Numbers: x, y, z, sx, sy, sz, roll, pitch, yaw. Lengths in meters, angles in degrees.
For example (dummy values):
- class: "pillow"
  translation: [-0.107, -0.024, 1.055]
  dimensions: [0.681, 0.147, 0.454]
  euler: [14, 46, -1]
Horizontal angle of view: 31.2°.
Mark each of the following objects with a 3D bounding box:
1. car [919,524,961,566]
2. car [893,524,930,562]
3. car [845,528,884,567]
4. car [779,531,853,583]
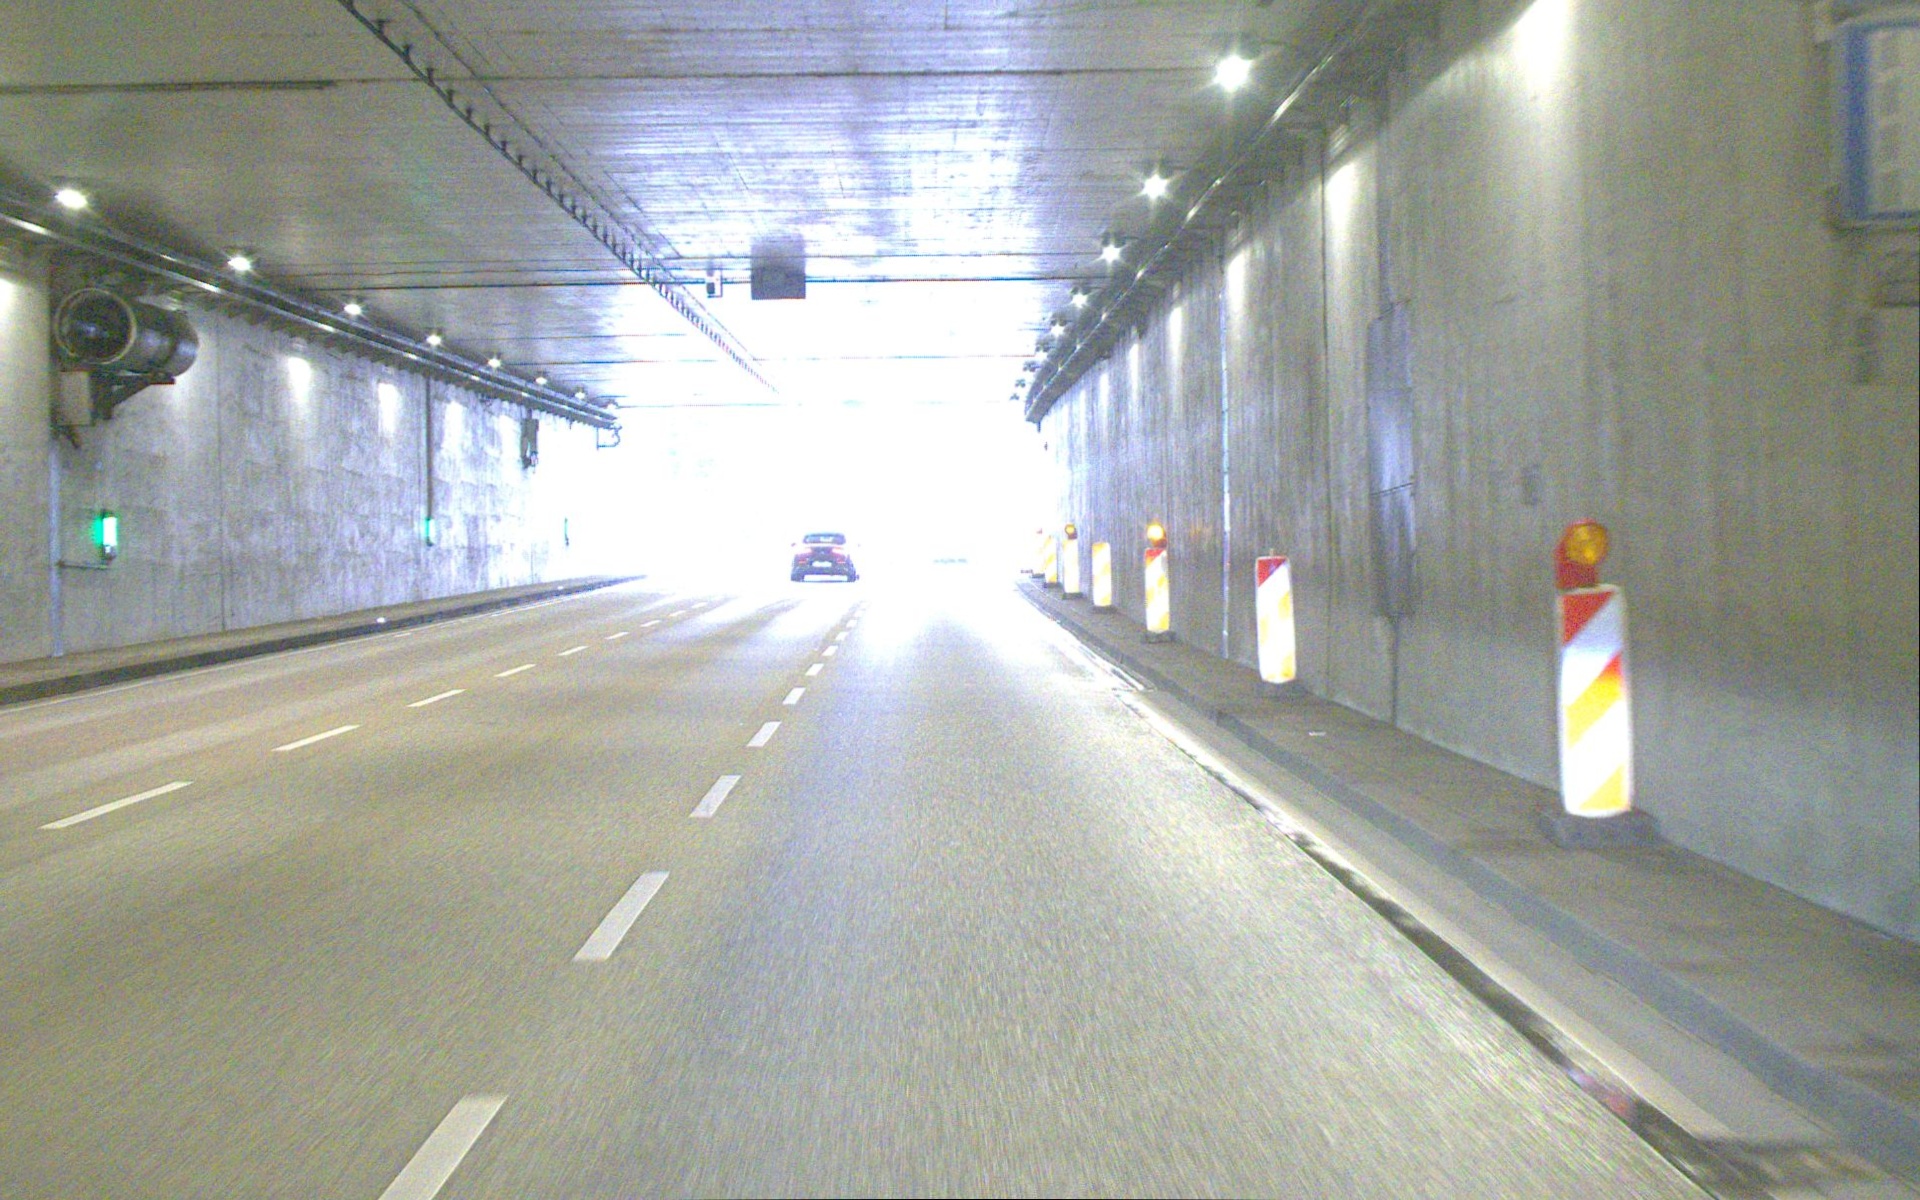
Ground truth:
- class: "car"
  translation: [-0.976, -2.672, 167.556]
  dimensions: [1.993, 2.007, 4.000]
  euler: [-1, 0, 0]
- class: "car"
  translation: [-2.657, -3.130, 188.477]
  dimensions: [1.993, 2.007, 4.000]
  euler: [-1, 0, -1]
- class: "car"
  translation: [-5.061, -2.760, 182.016]
  dimensions: [1.993, 2.007, 4.000]
  euler: [-1, 0, -1]
- class: "car"
  translation: [-4.084, -1.225, 97.025]
  dimensions: [1.993, 1.443, 4.315]
  euler: [0, 1, -4]
